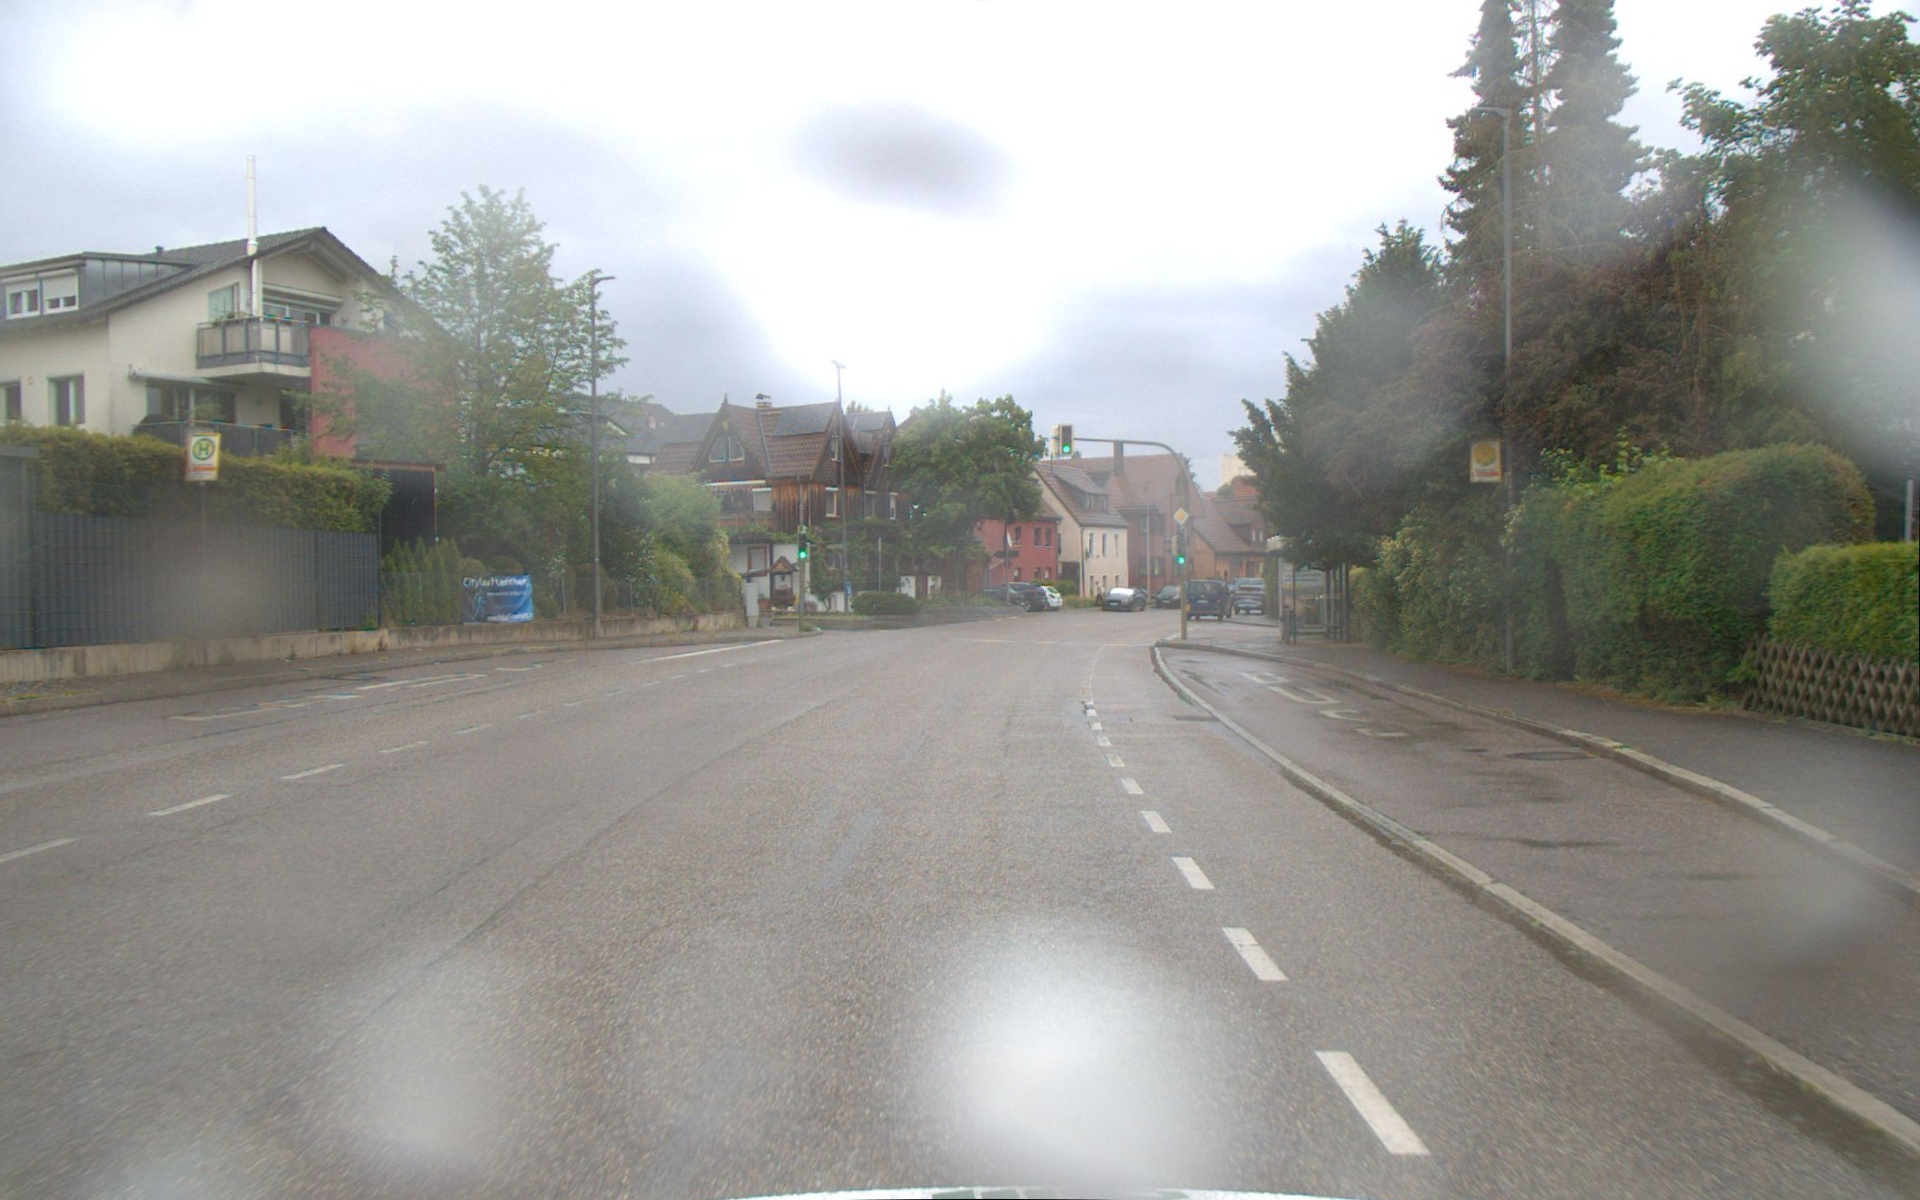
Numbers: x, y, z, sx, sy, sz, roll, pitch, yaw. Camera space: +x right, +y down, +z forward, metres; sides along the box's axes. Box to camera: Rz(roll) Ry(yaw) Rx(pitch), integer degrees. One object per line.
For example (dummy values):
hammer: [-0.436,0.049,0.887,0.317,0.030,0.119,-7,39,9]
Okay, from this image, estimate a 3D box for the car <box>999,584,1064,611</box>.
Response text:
car: [4.110,-0.113,95.165,3.393,1.505,1.589,-1,0,26]

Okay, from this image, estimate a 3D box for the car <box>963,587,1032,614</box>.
car: [2.050,0.012,90.514,3.378,1.443,1.631,-1,0,26]

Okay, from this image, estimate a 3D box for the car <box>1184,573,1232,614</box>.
car: [12.382,-0.348,82.386,1.889,1.935,4.797,1,1,14]

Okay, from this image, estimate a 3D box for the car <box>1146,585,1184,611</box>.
car: [13.405,-0.137,107.937,1.573,1.646,3.275,-1,0,24]

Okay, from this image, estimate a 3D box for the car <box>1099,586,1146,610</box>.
car: [9.654,-0.143,98.044,1.593,1.379,4.110,2,1,22]

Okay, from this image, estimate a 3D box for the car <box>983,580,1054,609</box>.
car: [3.309,-0.316,92.915,3.507,1.532,1.853,2,1,28]

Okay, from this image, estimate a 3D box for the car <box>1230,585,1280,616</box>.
car: [17.322,0.012,96.931,1.870,1.747,4.554,2,1,23]
